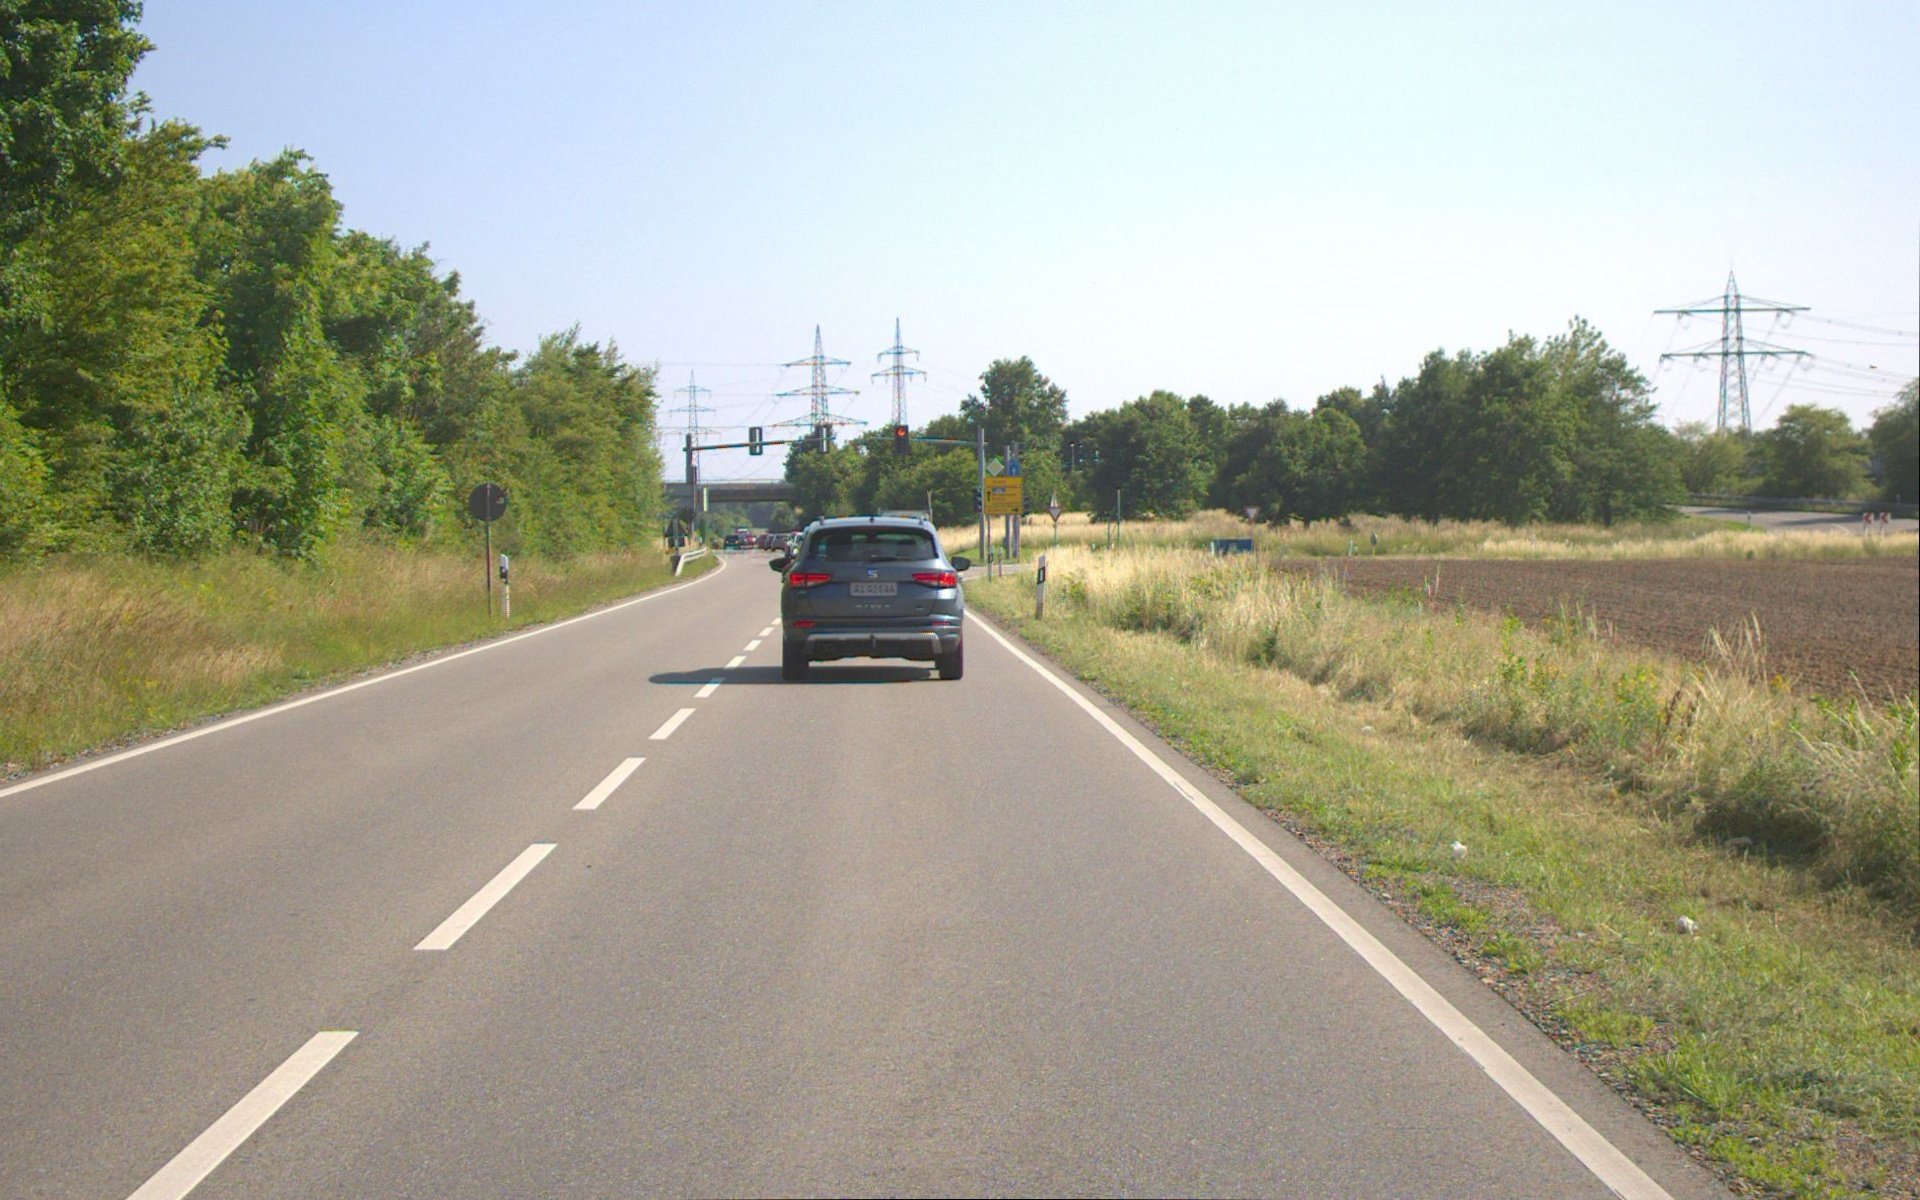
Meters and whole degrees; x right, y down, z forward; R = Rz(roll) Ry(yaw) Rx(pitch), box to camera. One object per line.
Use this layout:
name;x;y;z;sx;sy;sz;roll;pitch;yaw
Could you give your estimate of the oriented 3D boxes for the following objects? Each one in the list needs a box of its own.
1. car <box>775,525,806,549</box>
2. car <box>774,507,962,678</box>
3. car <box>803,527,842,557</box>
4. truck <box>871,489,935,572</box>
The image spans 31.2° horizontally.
car;-9.794;-3.658;198.851;1.684;1.375;3.534;0;2;-5
car;-0.928;-0.128;34.835;1.785;1.623;4.001;0;2;-2
car;-7.183;-3.029;179.013;1.816;1.535;4.001;-1;1;-5
truck;-2.127;-2.594;129.787;2.337;3.055;5.810;0;1;0
